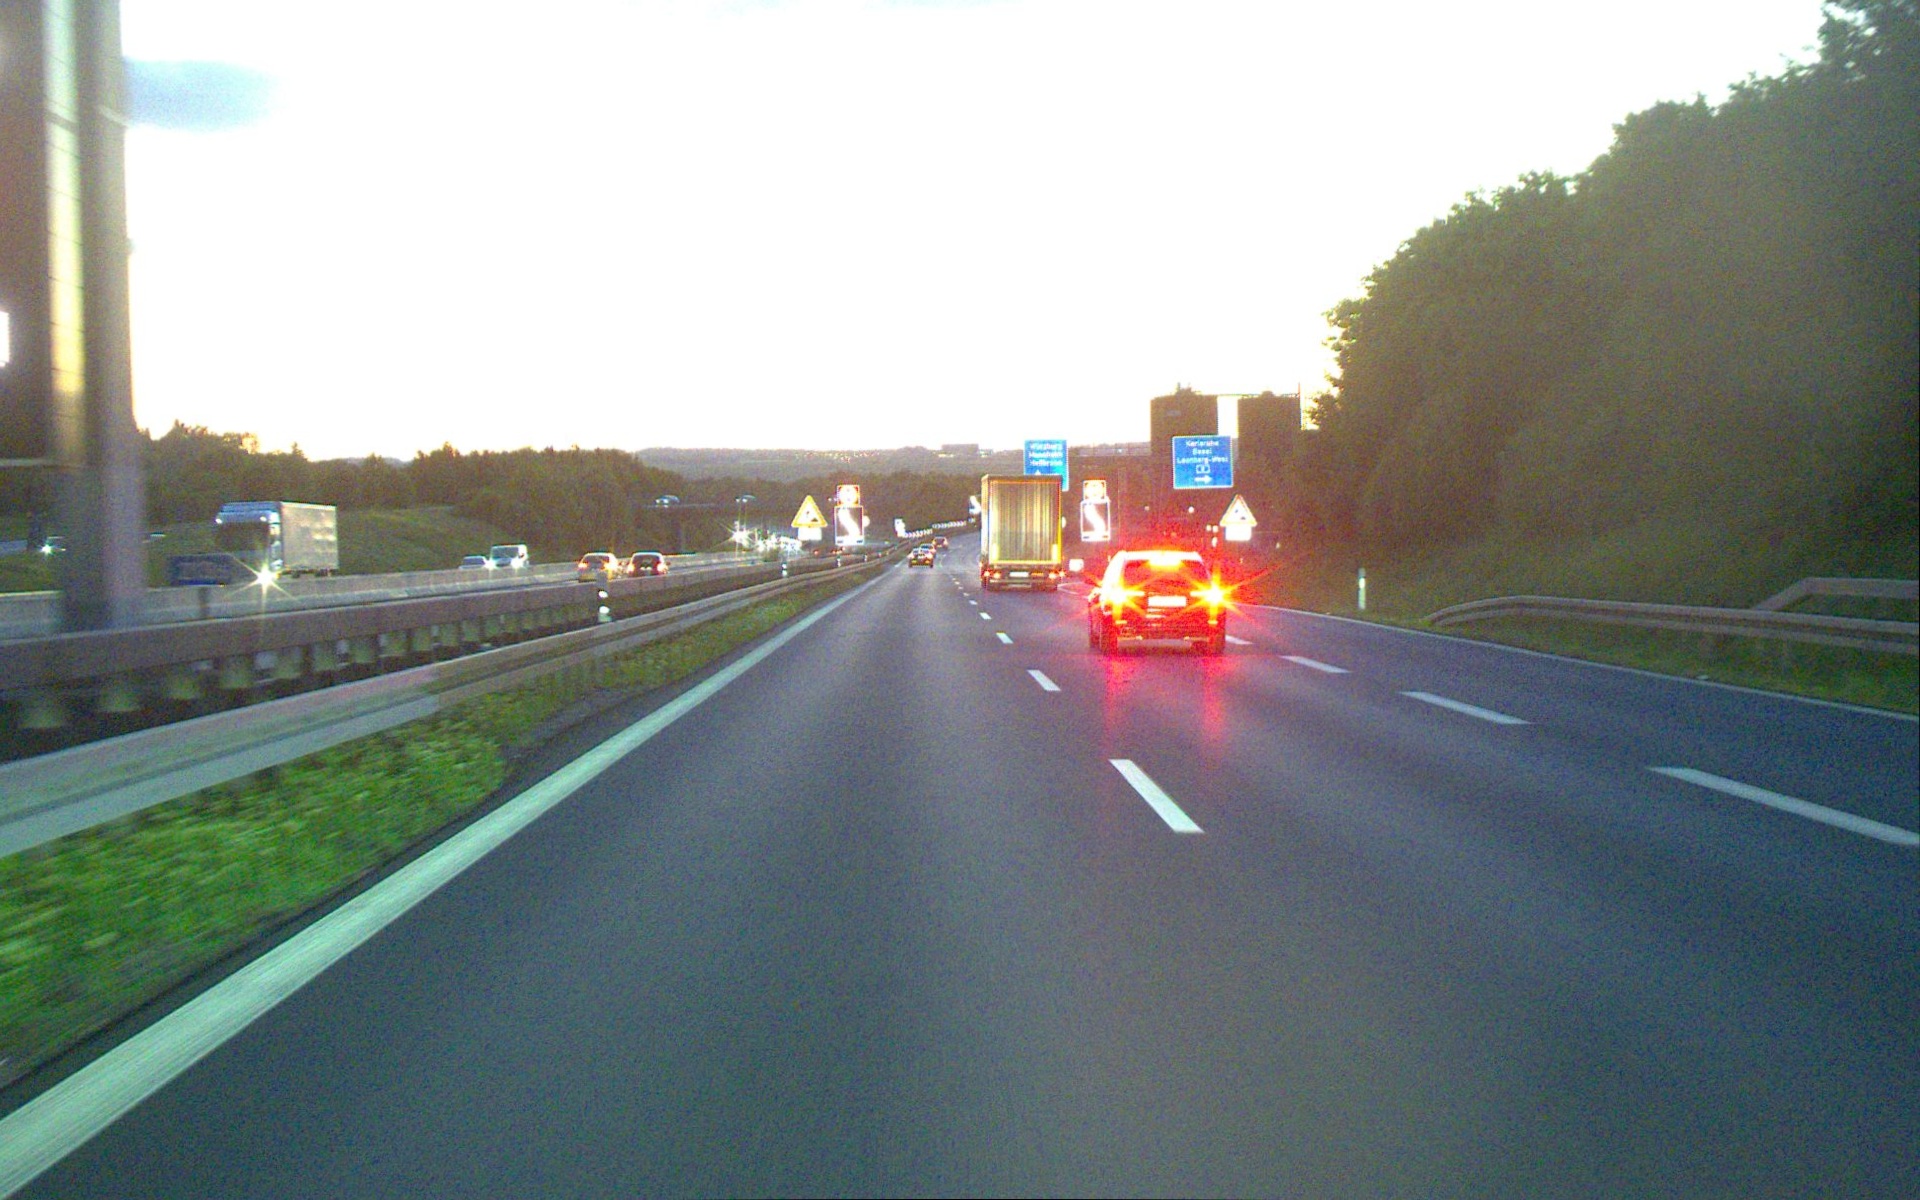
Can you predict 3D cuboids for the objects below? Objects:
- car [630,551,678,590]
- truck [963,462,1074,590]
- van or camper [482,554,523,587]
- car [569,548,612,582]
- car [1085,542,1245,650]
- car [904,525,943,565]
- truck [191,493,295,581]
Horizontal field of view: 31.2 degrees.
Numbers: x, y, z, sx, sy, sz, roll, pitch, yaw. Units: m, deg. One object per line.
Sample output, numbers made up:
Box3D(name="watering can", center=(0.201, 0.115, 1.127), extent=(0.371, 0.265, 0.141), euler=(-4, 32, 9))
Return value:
Box3D(name="car", center=(-13.118, -1.267, 147.497), extent=(1.713, 1.600, 3.722), euler=(-2, 1, -1))
Box3D(name="truck", center=(2.001, -2.582, 122.147), extent=(3.509, 4.286, 9.892), euler=(-2, 1, -1))
Box3D(name="van or camper", center=(-27.033, -1.746, 203.307), extent=(1.890, 1.900, 5.541), euler=(0, 1, -2))
Box3D(name="car", center=(-17.419, -1.673, 162.090), extent=(1.638, 1.541, 3.395), euler=(-2, 1, 0))
Box3D(name="car", center=(2.921, -0.081, 49.762), extent=(1.915, 1.437, 4.000), euler=(-2, 1, -2))
Box3D(name="car", center=(-1.903, -2.841, 179.360), extent=(1.993, 2.007, 4.000), euler=(-2, 1, -1))
Box3D(name="truck", center=(-30.635, -2.677, 147.061), extent=(3.309, 3.607, 5.498), euler=(-2, 1, -1))
